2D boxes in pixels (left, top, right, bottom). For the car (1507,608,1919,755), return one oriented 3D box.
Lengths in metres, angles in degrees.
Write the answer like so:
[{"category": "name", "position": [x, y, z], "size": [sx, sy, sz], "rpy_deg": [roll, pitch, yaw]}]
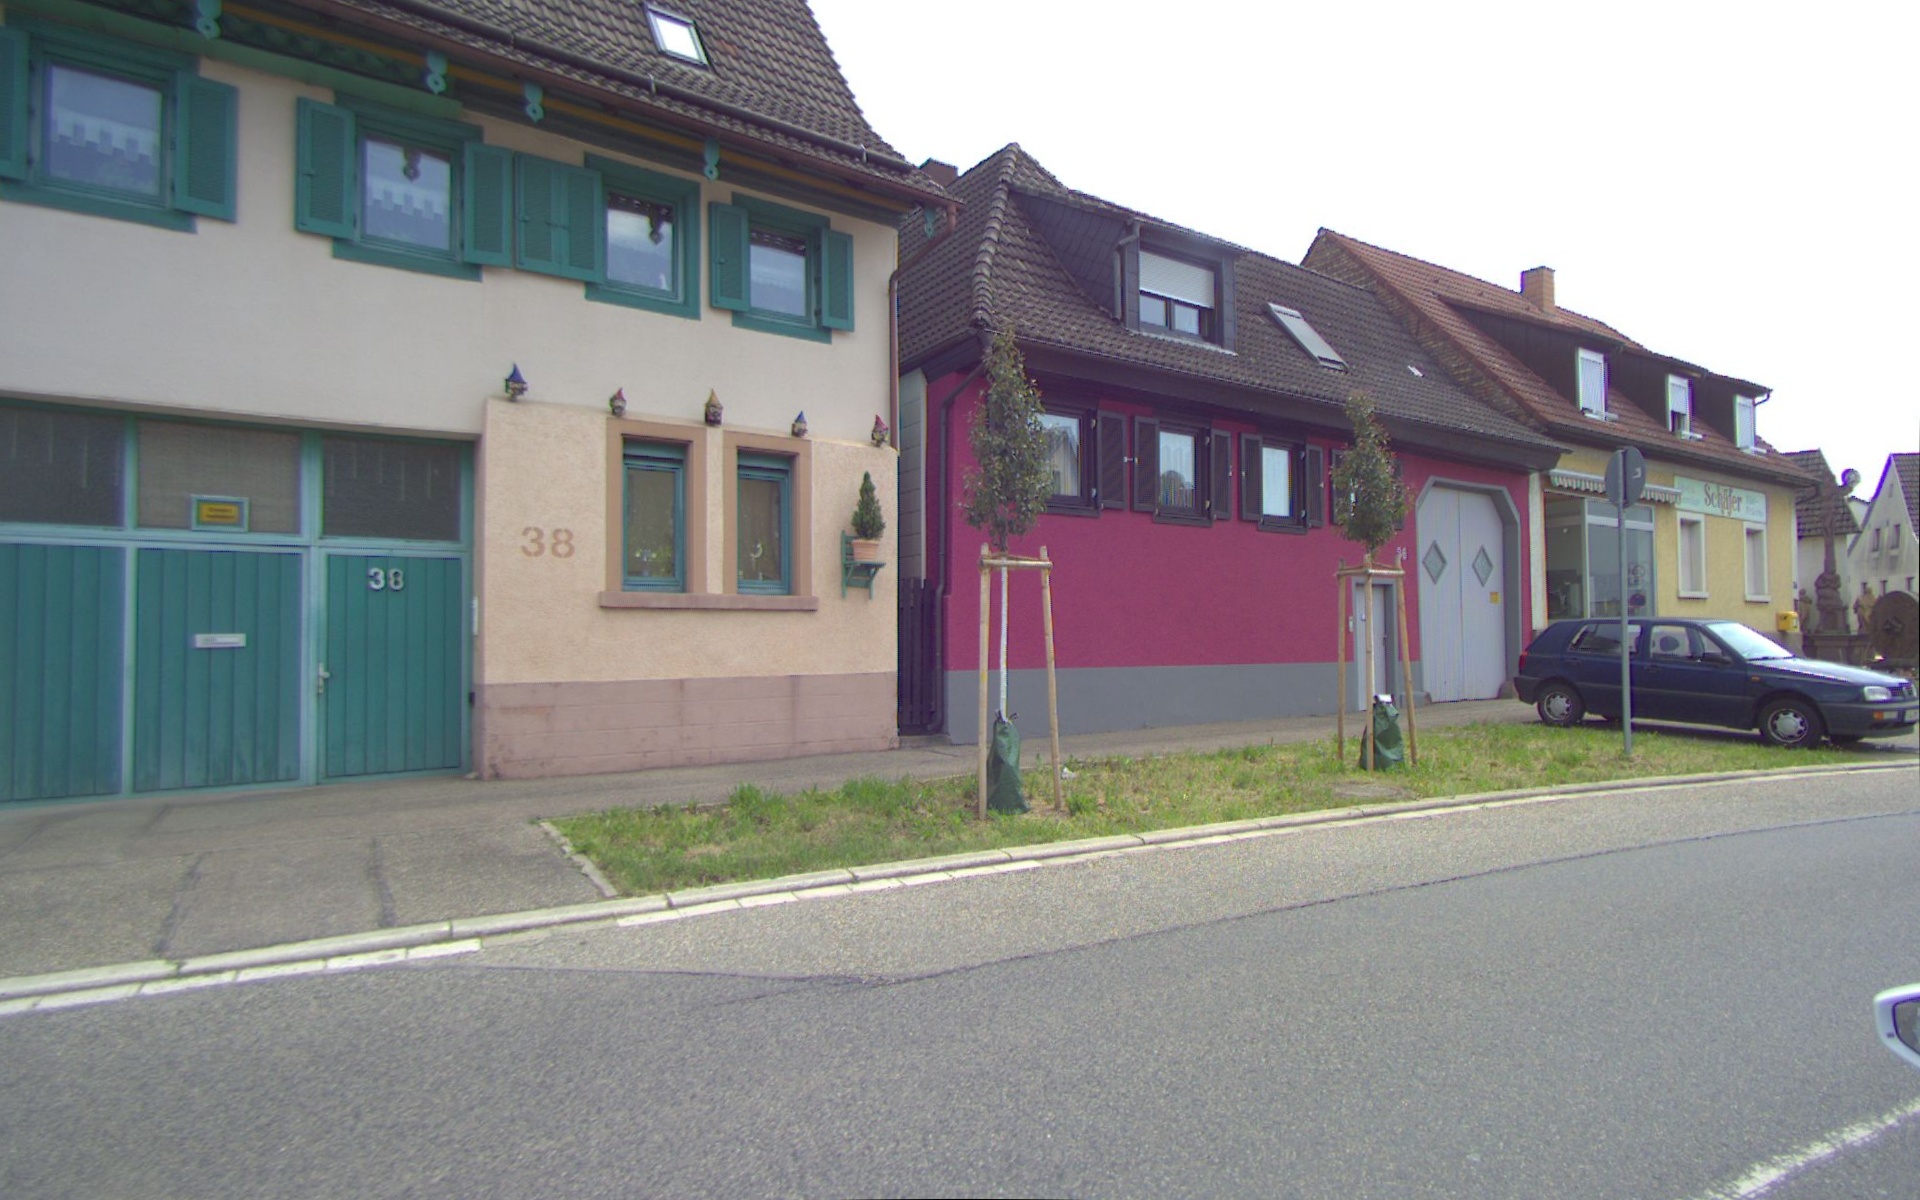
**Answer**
[{"category": "car", "position": [9.105, 0.858, 12.289], "size": [1.702, 1.483, 3.945], "rpy_deg": [1, -1, -32]}]
